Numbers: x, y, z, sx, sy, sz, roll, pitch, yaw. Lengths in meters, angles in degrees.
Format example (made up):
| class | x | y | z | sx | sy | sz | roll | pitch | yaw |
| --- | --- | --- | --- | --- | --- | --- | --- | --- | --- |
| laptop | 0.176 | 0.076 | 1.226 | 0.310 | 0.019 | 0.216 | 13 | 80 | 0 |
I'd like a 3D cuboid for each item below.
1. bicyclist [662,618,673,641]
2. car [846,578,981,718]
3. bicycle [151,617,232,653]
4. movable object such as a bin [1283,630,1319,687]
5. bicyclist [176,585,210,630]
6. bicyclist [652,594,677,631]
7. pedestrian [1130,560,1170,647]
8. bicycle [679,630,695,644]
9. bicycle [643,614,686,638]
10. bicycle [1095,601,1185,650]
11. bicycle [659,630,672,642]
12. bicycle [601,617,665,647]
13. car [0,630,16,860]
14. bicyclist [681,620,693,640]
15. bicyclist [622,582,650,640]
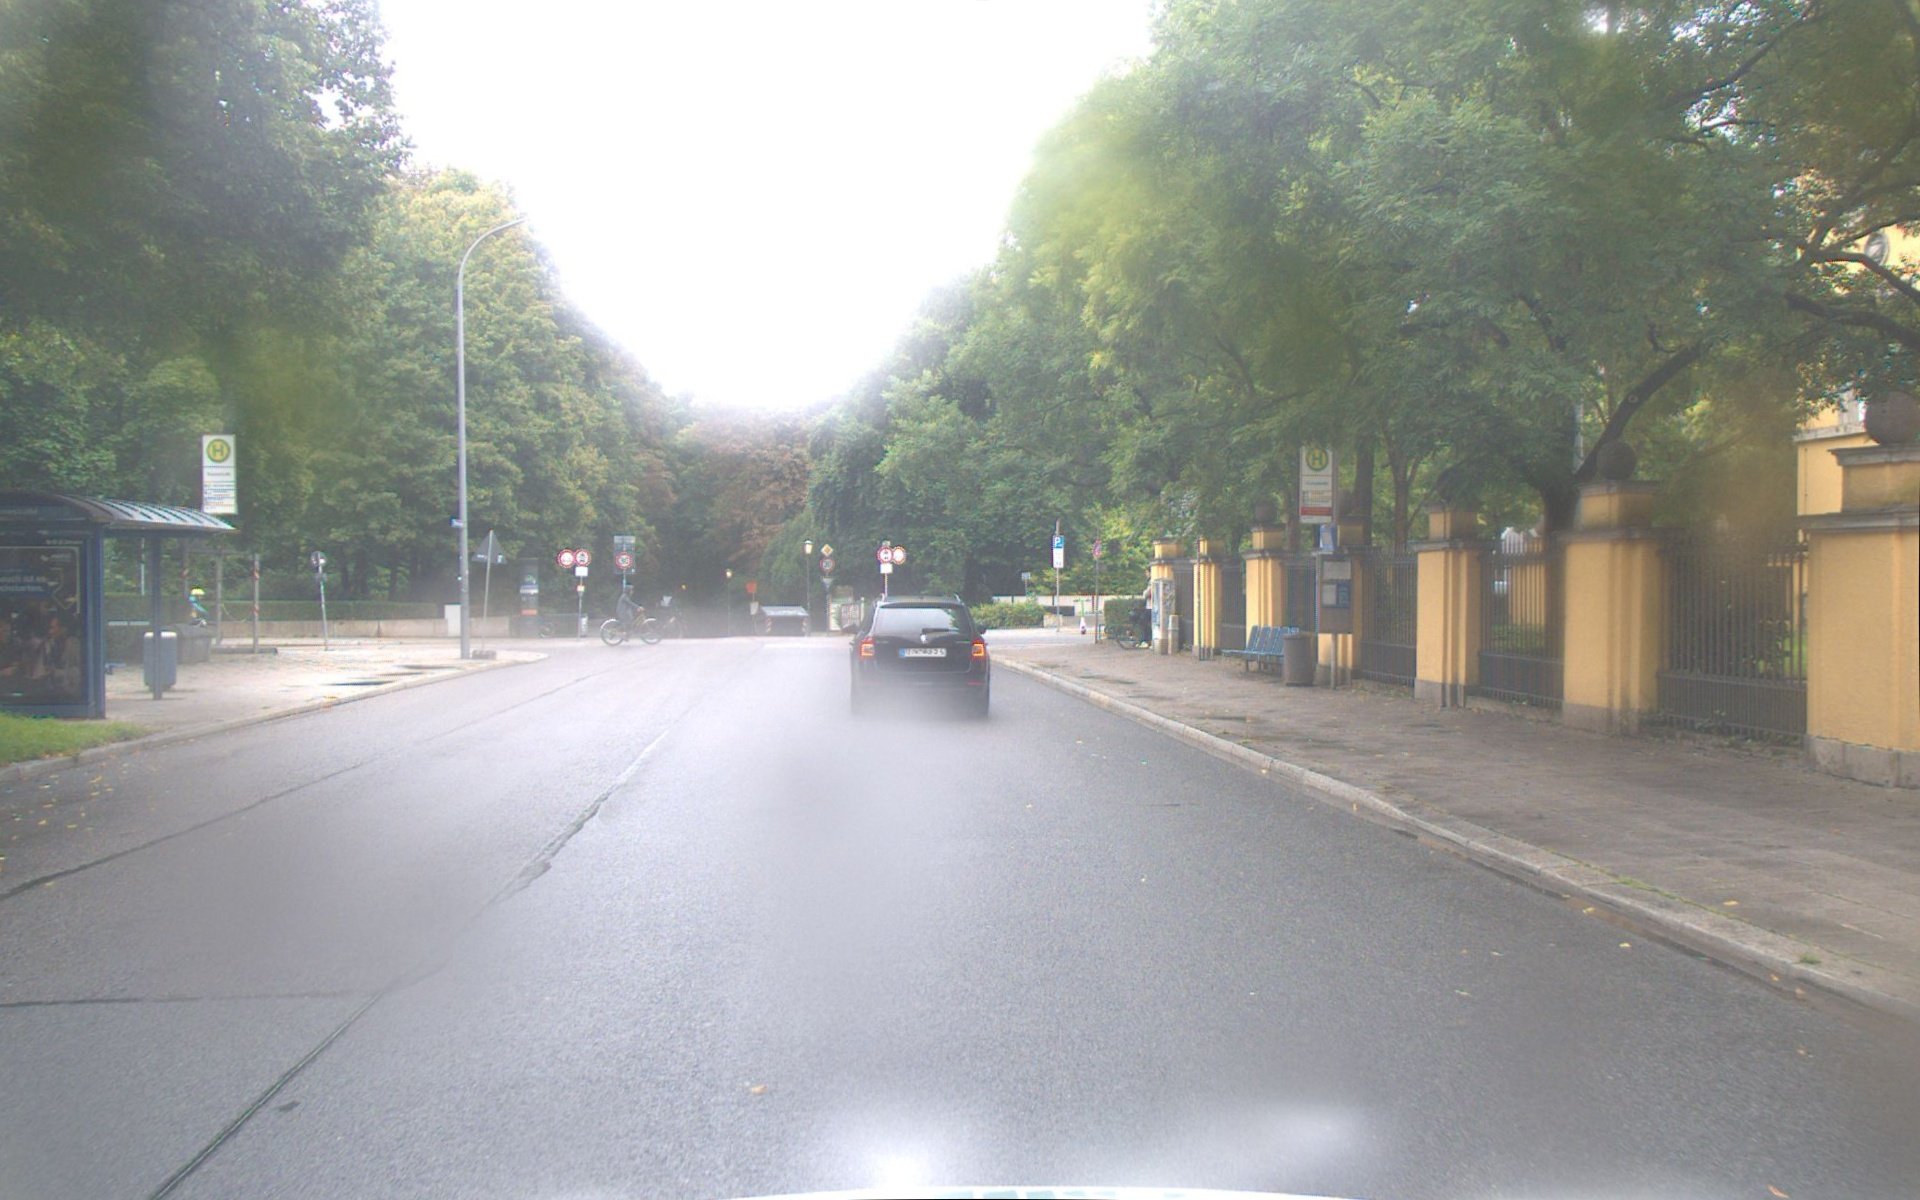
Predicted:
| class | x | y | z | sx | sy | sz | roll | pitch | yaw |
| --- | --- | --- | --- | --- | --- | --- | --- | --- | --- |
| bicyclist | -20.047 | 1.995 | 113.317 | 0.669 | 1.530 | 0.897 | -1 | 0 | -15 |
| car | -0.641 | 0.555 | 21.374 | 1.546 | 1.611 | 4.042 | -1 | 0 | -3 |
| bicycle | -22.217 | 1.009 | 47.828 | 2.083 | 1.008 | 0.674 | -1 | -1 | -33 |
| movable object such as a bin | 4.896 | 0.832 | 23.768 | 0.389 | 0.794 | 0.465 | -1 | 0 | -3 |
| bicyclist | -22.190 | 0.225 | 47.863 | 0.843 | 1.279 | 0.519 | 0 | -1 | -32 |
| bicyclist | -10.693 | 0.454 | 59.897 | 0.666 | 1.305 | 0.600 | -1 | 0 | 18 |
| pedestrian | 4.380 | 0.086 | 38.167 | 0.662 | 1.952 | 0.638 | -3 | 0 | -13 |
| bicycle | -16.609 | 2.230 | 100.619 | 0.668 | 0.844 | 2.100 | -1 | -1 | -16 |
| bicycle | -10.689 | 0.945 | 59.889 | 0.665 | 0.844 | 2.111 | -1 | -1 | 17 |
| bicycle | 4.065 | 0.572 | 37.355 | 1.873 | 0.966 | 0.580 | -4 | 0 | -13 |
| bicycle | -20.159 | 2.465 | 113.255 | 0.668 | 0.844 | 2.101 | -1 | -1 | -15 |
| bicycle | -9.148 | 0.899 | 46.251 | 1.732 | 0.810 | 0.569 | 0 | -1 | -13 |
| car | -6.378 | 0.881 | 7.981 | 1.546 | 1.366 | 4.041 | -1 | 0 | -4 |
| bicyclist | -16.628 | 1.835 | 100.636 | 0.670 | 1.208 | 0.479 | -1 | 0 | -17 |
| bicyclist | -9.062 | 0.308 | 46.285 | 0.737 | 1.613 | 0.654 | -1 | -1 | -12 |
